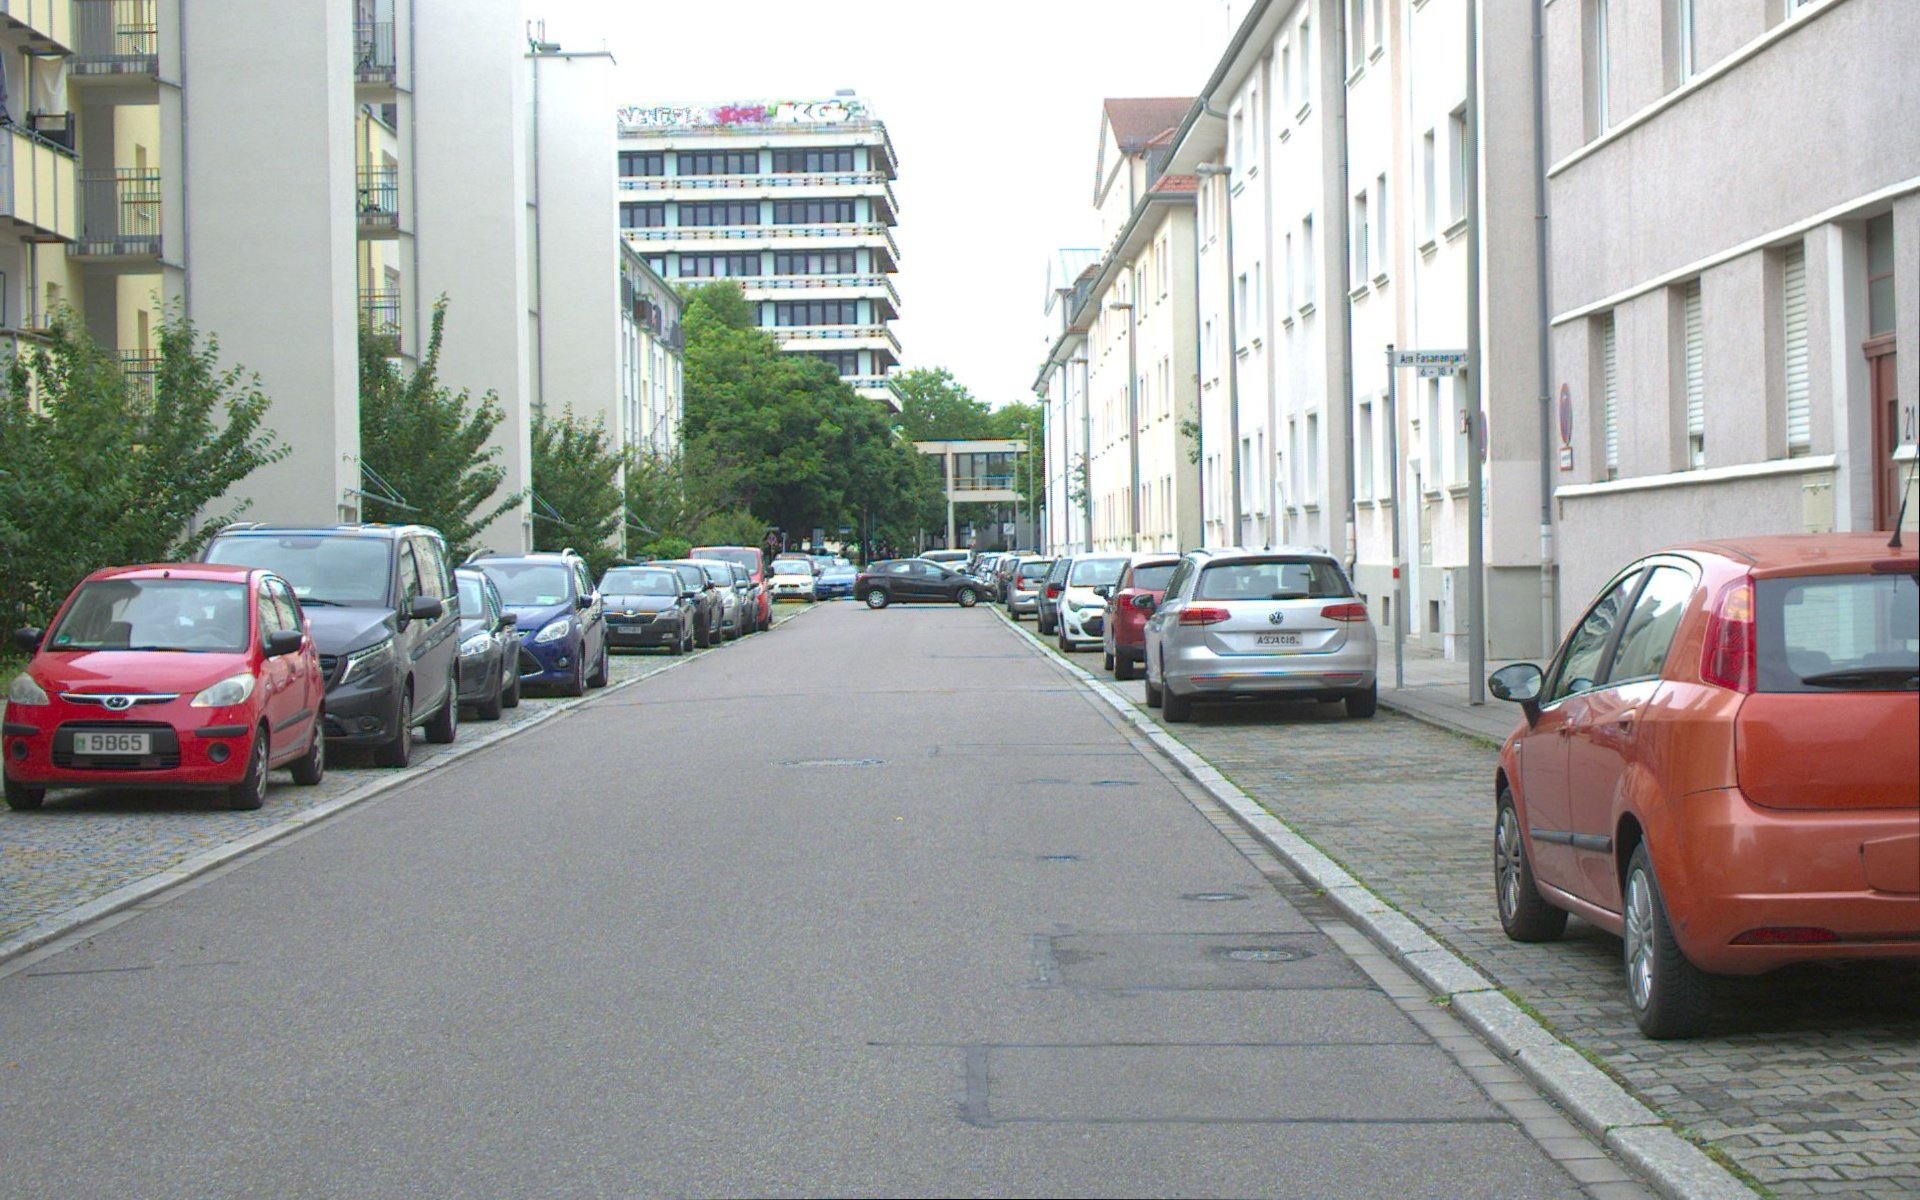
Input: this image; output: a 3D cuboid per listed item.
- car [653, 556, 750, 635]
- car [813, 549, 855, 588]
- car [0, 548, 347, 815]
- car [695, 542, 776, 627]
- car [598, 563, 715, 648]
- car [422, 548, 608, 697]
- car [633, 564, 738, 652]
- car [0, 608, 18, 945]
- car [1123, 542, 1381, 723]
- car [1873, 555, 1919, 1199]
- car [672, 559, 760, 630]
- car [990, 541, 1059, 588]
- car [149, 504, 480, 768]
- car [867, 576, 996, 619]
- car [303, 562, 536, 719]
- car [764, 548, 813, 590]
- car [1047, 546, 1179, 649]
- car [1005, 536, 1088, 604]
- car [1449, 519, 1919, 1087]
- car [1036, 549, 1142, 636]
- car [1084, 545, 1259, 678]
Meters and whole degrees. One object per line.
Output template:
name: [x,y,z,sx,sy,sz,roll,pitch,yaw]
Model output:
car: [-5.232,-0.121,69.903,1.671,1.520,4.253,0,1,0]
car: [-4.839,-1.206,131.706,1.539,1.445,3.742,-1,1,-3]
car: [-5.130,0.467,22.668,1.563,1.563,3.642,2,1,-1]
car: [-5.219,-0.381,80.158,1.671,1.931,3.742,0,1,0]
car: [-5.088,0.064,58.015,1.671,1.347,3.817,0,1,0]
car: [-5.152,0.215,40.257,1.769,1.637,4.355,0,1,-2]
car: [-5.043,0.123,63.474,1.671,1.558,3.664,0,1,0]
car: [-4.951,0.769,12.388,1.841,1.416,4.630,1,1,0]
car: [2.494,0.230,30.335,1.755,1.462,4.601,0,1,-2]
car: [2.849,0.644,5.937,1.567,1.468,3.696,-2,1,1]
car: [-5.285,-0.146,74.842,1.671,1.482,3.742,0,1,0]
car: [2.023,-1.138,108.463,1.993,1.393,4.000,2,1,-1]
car: [-5.102,0.217,27.811,1.879,1.897,5.031,2,1,-2]
car: [-0.808,-0.073,100.338,3.729,1.210,1.544,0,1,1]
car: [-5.387,0.363,34.735,1.830,1.454,4.260,0,1,-2]
car: [-6.021,-1.112,121.034,1.539,1.445,3.742,0,1,0]
car: [2.313,-0.065,52.760,1.819,1.499,3.752,0,1,0]
car: [2.020,-0.734,81.266,1.819,1.571,3.884,0,1,0]
car: [2.765,0.514,11.341,1.696,1.520,3.826,-2,1,0]
car: [2.398,-0.170,64.557,1.819,1.571,3.752,0,1,0]
car: [2.448,0.093,40.687,1.670,1.415,4.000,-3,1,-1]
